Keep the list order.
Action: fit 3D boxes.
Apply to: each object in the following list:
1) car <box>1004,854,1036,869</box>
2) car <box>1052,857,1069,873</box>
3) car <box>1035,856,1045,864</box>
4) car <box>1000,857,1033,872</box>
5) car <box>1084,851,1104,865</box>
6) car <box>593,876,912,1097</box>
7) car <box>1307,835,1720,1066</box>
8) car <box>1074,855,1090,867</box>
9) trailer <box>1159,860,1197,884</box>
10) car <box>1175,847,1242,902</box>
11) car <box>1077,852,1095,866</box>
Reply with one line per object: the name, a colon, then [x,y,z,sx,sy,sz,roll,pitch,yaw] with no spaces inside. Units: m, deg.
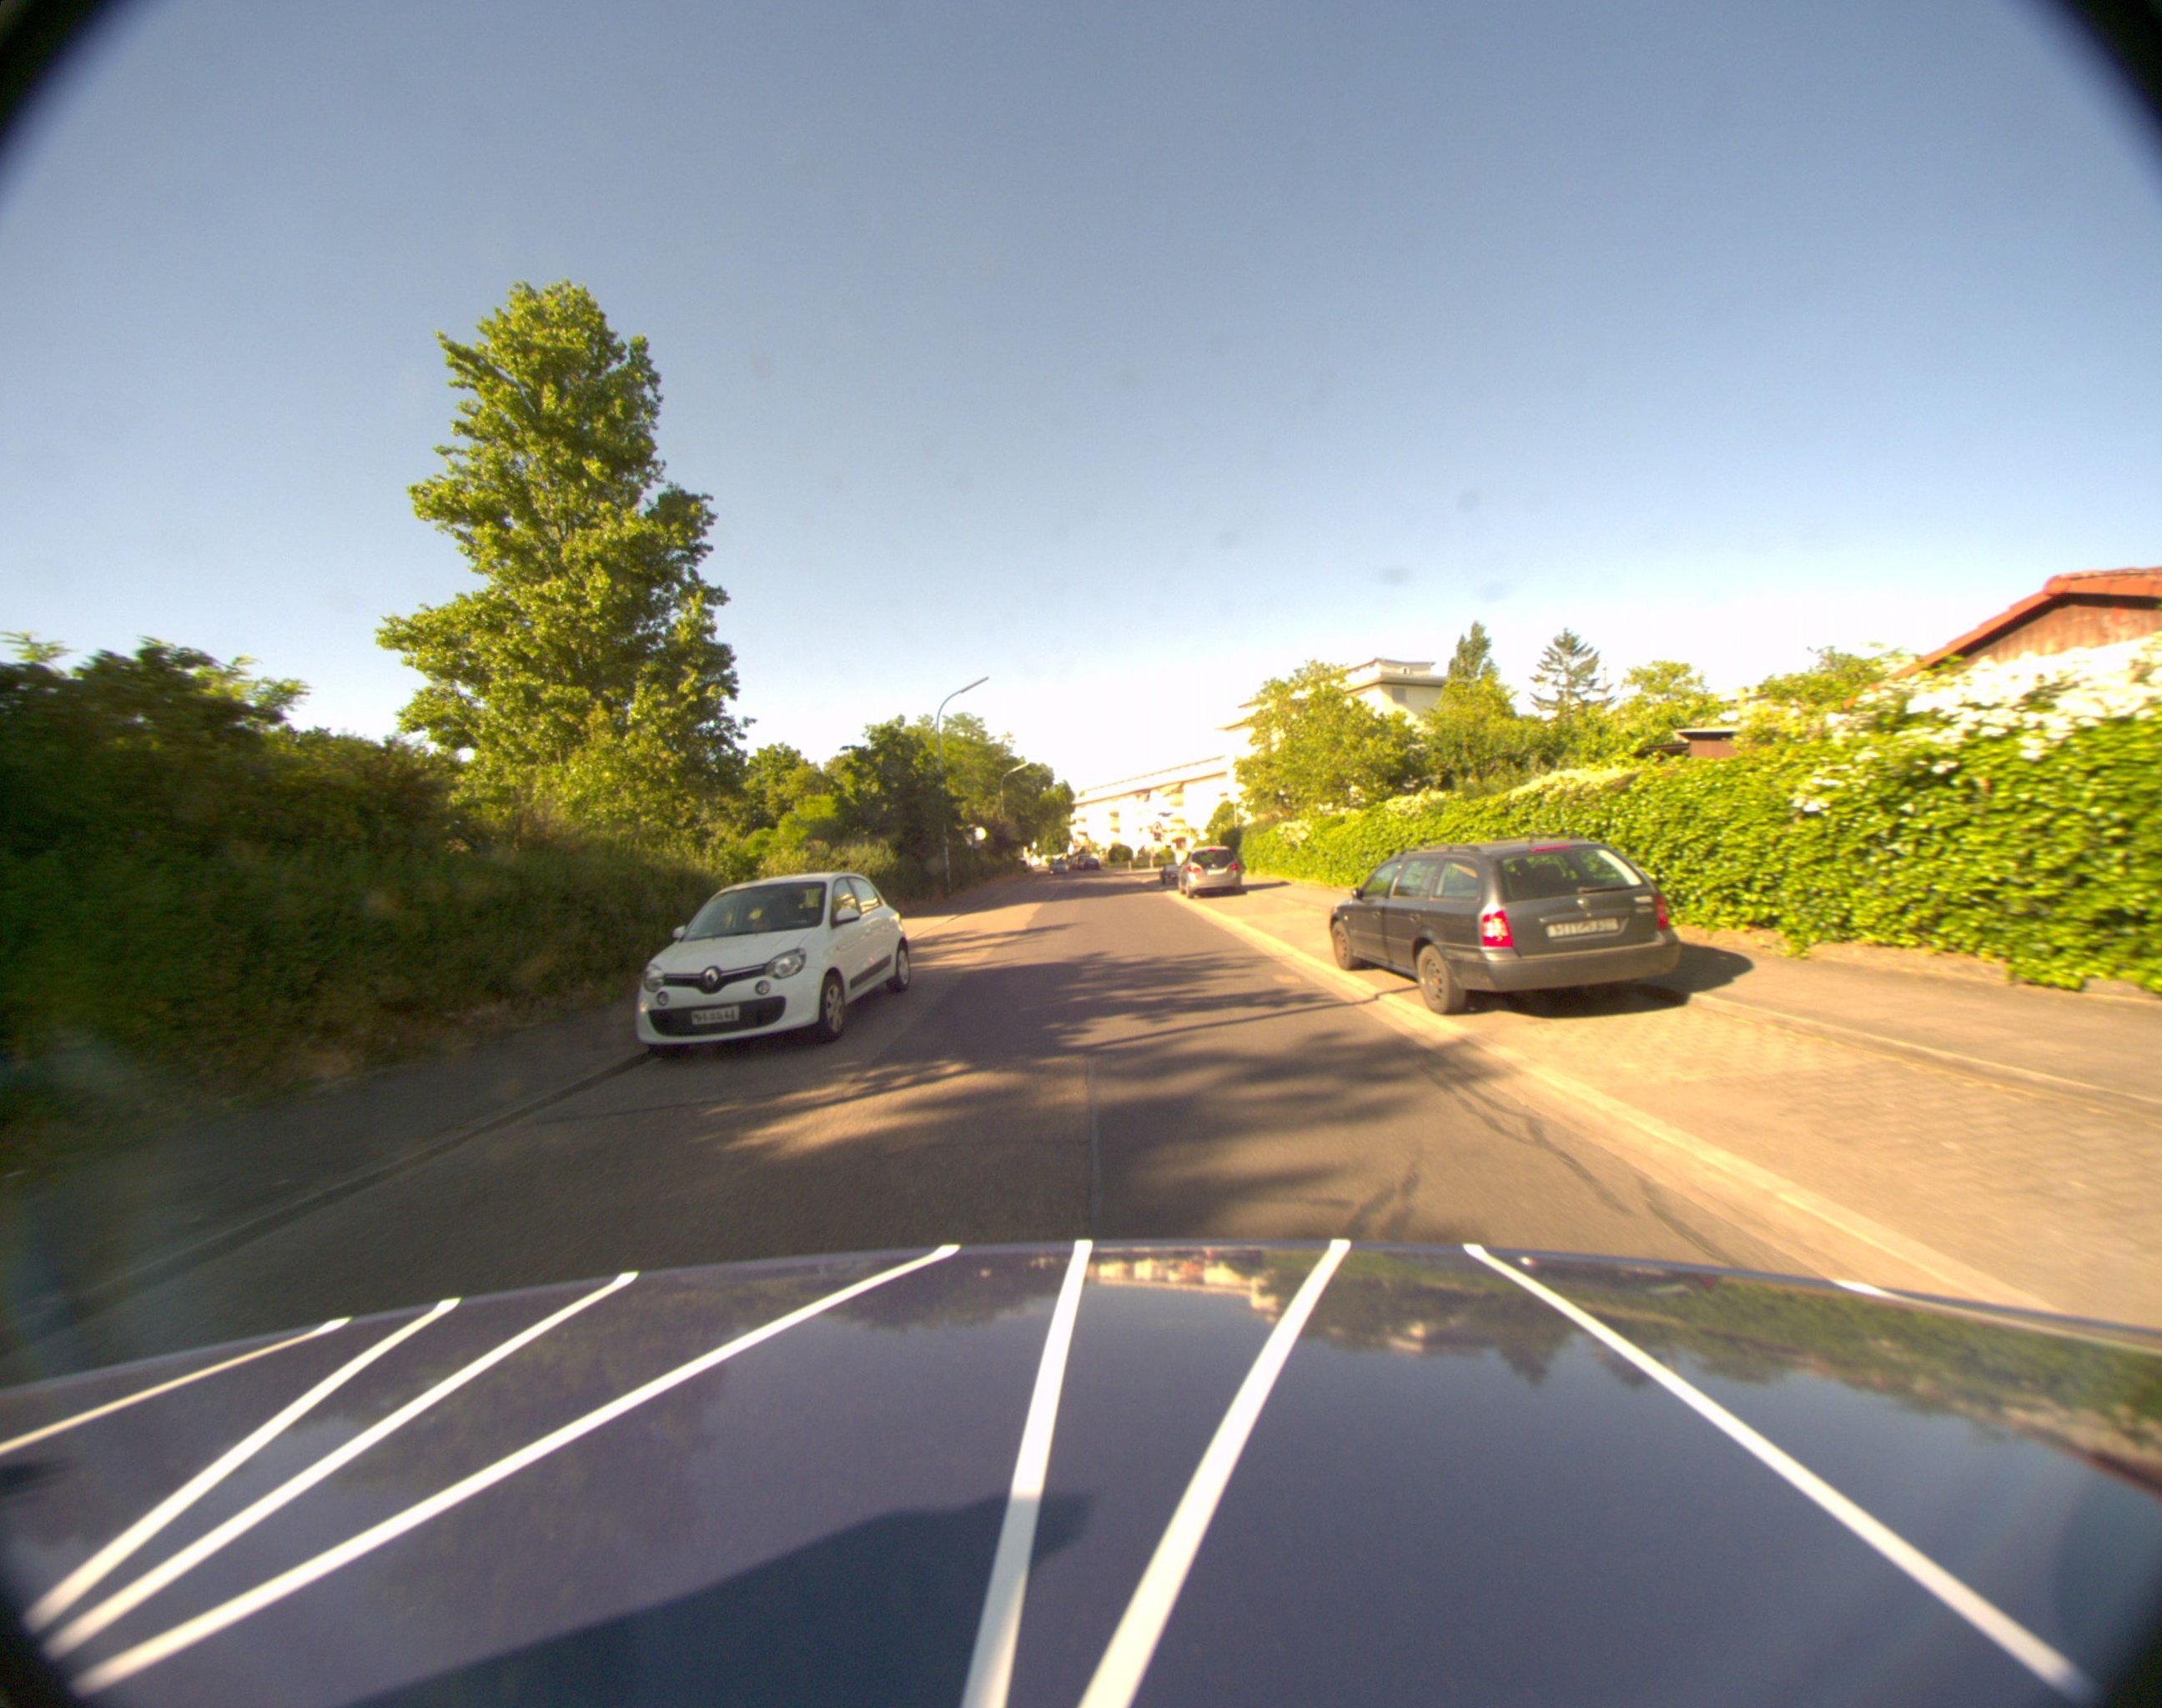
car: [-8.916,1.060,111.023,4.464,2.004,2.020,-2,0,-4]
car: [-1.909,0.993,71.791,1.597,1.417,4.170,-1,0,-1]
car: [-10.470,1.451,194.524,2.008,1.837,4.612,-5,0,-9]
car: [-8.323,1.365,98.368,4.160,1.685,1.774,-2,0,-2]
car: [1.369,0.429,84.102,1.732,1.455,4.681,-2,-1,-4]
car: [-3.039,1.122,7.887,1.559,1.529,3.556,-5,0,1]
car: [3.821,0.702,7.767,1.647,1.547,4.417,-6,0,1]
car: [0.085,0.933,103.305,1.845,1.473,4.573,0,0,-5]
trailer: [4.549,0.835,35.914,1.547,0.948,2.647,-5,0,4]
car: [4.212,0.615,25.637,1.647,1.590,4.312,-5,0,3]
car: [0.579,0.647,97.299,1.845,1.770,4.886,-2,0,-4]
